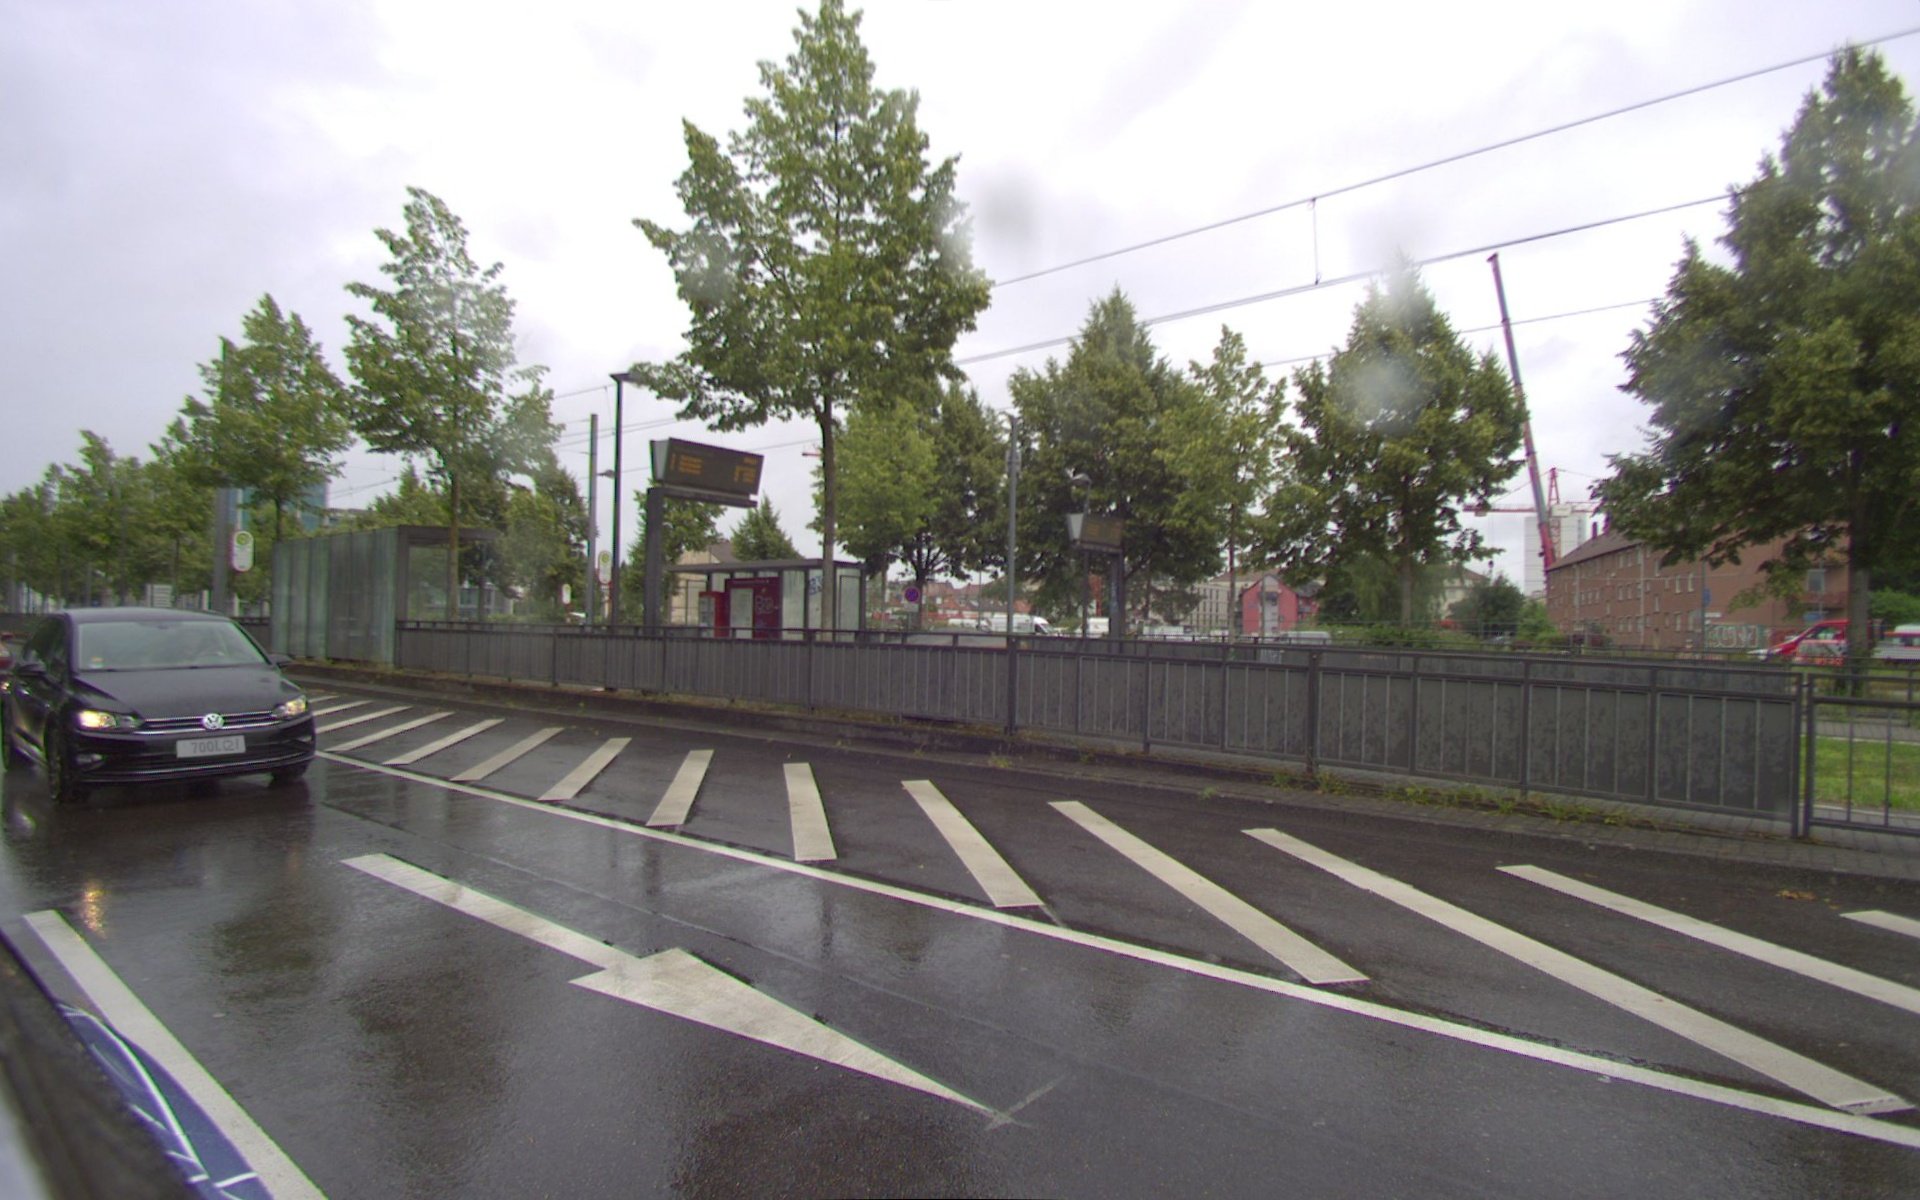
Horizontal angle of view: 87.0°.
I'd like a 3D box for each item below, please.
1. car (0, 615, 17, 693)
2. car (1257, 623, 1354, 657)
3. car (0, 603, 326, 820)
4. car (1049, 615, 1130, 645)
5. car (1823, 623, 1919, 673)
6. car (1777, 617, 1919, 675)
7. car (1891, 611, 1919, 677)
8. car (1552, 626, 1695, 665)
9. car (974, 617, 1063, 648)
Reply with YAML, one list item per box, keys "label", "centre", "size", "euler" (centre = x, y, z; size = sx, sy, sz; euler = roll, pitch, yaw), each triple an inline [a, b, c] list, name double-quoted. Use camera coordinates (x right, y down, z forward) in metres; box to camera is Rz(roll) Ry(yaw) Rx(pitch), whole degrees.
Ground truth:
- label: "car"
  centre: [-20.271, 1.057, 20.142]
  size: [4.313, 1.470, 1.765]
  euler: [-1, 0, 41]
- label: "car"
  centre: [26.585, 3.061, 78.000]
  size: [6.804, 2.495, 2.335]
  euler: [0, -2, 28]
- label: "car"
  centre: [-7.652, 0.823, 9.291]
  size: [4.326, 1.529, 1.766]
  euler: [-1, 0, 38]
- label: "car"
  centre: [11.387, 2.598, 89.430]
  size: [6.826, 2.495, 2.470]
  euler: [-1, 0, 38]
- label: "car"
  centre: [40.137, 1.998, 41.823]
  size: [2.319, 2.029, 6.440]
  euler: [2, -3, -38]
- label: "car"
  centre: [34.767, 1.682, 37.642]
  size: [2.319, 2.029, 6.441]
  euler: [-1, 0, -38]
- label: "car"
  centre: [46.142, 2.000, 45.175]
  size: [2.319, 2.961, 6.441]
  euler: [-1, 0, -38]
- label: "car"
  centre: [36.975, 2.501, 56.659]
  size: [6.393, 2.029, 2.336]
  euler: [-1, 0, 26]
- label: "car"
  centre: [4.936, 2.682, 86.233]
  size: [7.627, 2.495, 2.327]
  euler: [-1, 0, 38]
